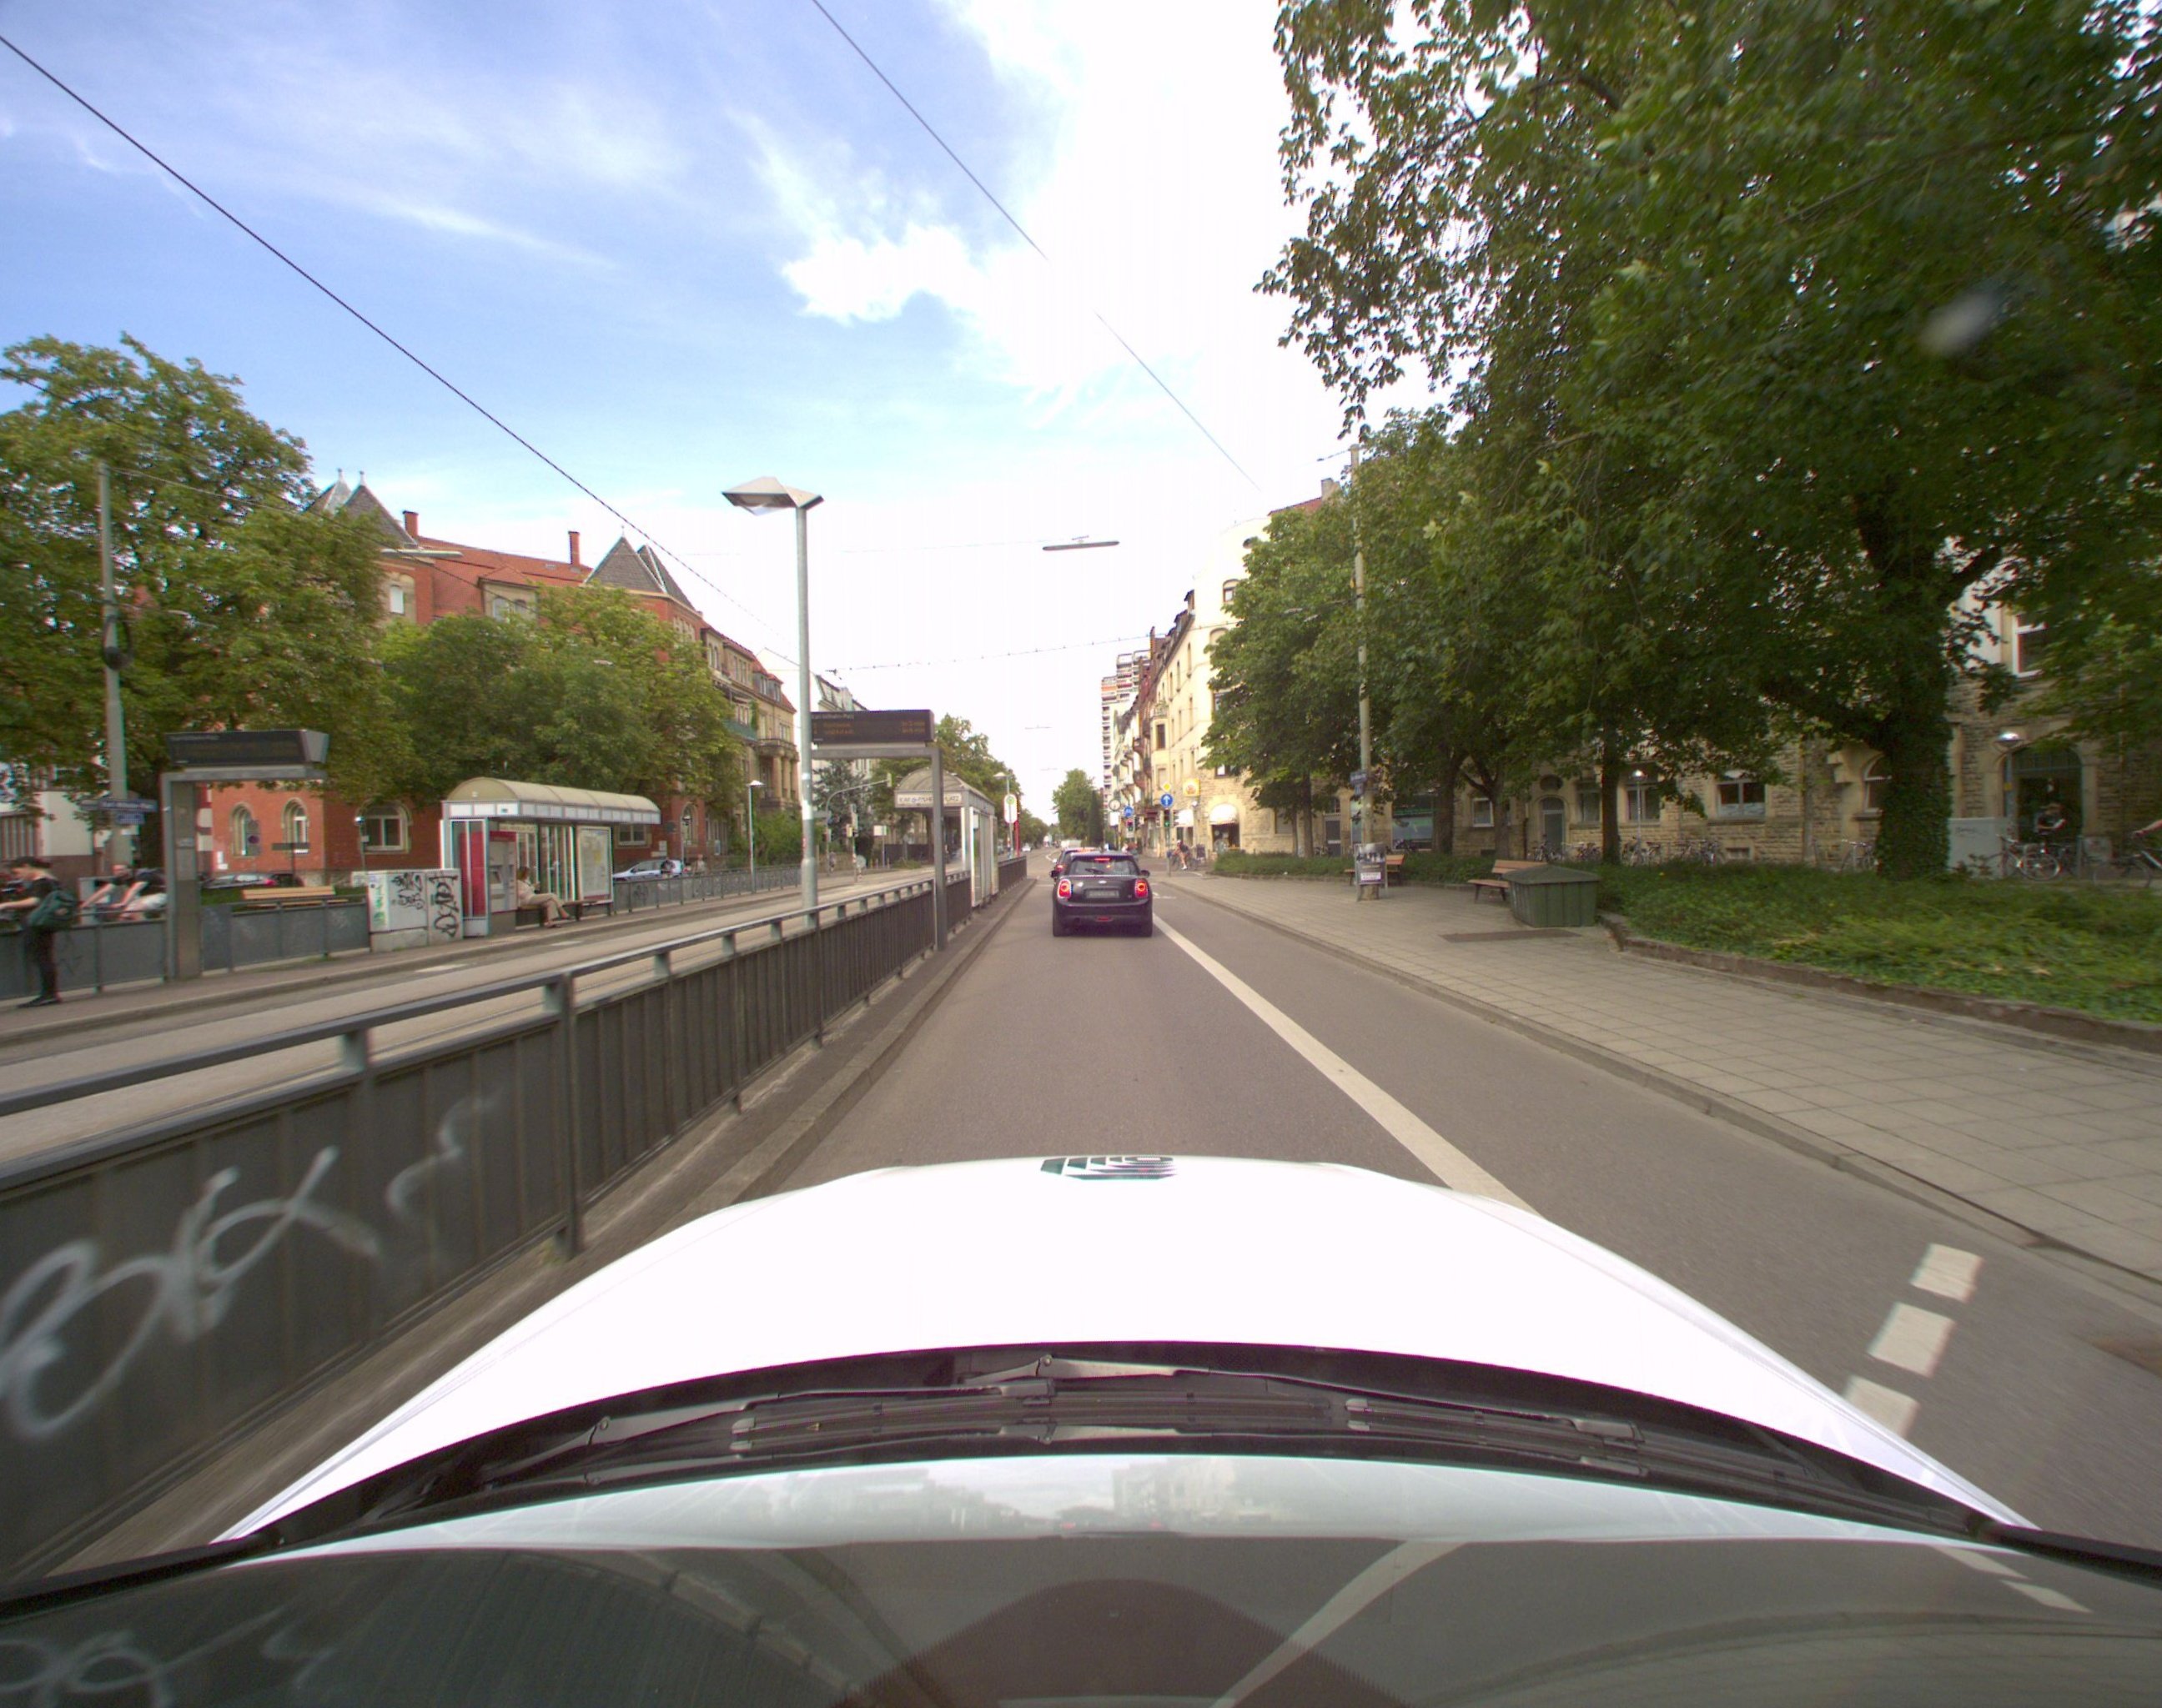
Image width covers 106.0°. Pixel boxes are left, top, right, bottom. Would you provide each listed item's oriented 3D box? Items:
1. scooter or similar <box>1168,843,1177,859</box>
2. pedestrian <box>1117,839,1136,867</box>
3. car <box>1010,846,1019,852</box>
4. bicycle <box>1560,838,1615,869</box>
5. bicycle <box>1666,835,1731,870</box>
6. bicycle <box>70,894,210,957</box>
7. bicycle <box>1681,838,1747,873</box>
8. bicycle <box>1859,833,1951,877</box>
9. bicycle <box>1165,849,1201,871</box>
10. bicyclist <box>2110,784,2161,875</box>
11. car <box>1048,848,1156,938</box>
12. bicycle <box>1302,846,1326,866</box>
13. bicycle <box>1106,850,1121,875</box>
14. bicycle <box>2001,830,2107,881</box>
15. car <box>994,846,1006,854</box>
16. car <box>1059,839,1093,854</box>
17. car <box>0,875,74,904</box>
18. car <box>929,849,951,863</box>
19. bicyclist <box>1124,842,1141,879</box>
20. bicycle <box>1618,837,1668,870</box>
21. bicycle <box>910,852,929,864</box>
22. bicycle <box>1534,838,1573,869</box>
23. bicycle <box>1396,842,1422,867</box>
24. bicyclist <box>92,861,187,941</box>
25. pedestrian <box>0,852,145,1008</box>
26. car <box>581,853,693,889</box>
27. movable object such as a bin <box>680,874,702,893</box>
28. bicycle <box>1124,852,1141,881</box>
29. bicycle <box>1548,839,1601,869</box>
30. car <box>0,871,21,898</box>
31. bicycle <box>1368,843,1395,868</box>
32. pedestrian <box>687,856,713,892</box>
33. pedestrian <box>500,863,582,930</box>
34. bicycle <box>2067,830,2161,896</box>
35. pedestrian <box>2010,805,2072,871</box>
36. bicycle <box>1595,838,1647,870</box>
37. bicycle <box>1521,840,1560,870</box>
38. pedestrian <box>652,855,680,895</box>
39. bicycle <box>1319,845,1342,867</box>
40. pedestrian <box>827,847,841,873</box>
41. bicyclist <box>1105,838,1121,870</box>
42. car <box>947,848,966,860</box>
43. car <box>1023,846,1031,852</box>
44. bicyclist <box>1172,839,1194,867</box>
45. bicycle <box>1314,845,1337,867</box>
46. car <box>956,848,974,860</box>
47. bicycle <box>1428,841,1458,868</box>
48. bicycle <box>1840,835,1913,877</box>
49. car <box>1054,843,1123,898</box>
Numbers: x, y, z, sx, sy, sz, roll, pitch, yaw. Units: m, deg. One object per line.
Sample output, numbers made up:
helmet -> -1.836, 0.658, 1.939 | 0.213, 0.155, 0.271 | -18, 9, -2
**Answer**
scooter or similar -> 6.836, -0.243, 60.750 | 0.507, 1.188, 1.261 | -2, 1, -1
pedestrian -> 2.887, -0.062, 51.741 | 0.840, 1.674, 0.723 | -6, 1, -45
car -> -17.195, -1.267, 211.896 | 1.987, 1.552, 3.999 | -2, 1, -1
bicycle -> 19.718, -0.016, 31.697 | 1.887, 1.128, 0.597 | -2, 1, -10
bicycle -> 21.308, -0.044, 28.113 | 1.884, 1.128, 0.532 | -2, 0, -5
bicycle -> -16.622, 1.238, 14.447 | 0.658, 0.949, 1.549 | -2, 1, -1
bicycle -> 21.400, 0.038, 27.531 | 1.884, 1.128, 0.532 | -2, 0, -5
bicycle -> 22.583, 0.031, 22.325 | 1.879, 1.128, 0.533 | -2, 0, 4
bicycle -> 5.386, 0.329, 43.089 | 1.797, 1.076, 0.621 | -1, 1, 33
bicyclist -> 19.255, -0.443, 14.428 | 0.647, 1.605, 1.131 | -2, 1, -22
car -> 0.333, 0.616, 15.168 | 1.746, 1.441, 3.999 | 0, 1, 0
bicycle -> 12.021, 0.093, 41.959 | 0.595, 0.972, 1.683 | -1, 1, 37
bicycle -> 1.584, 0.406, 40.055 | 0.681, 1.170, 1.697 | -2, 1, 1
bicycle -> 23.026, 0.038, 19.293 | 1.881, 1.128, 0.533 | -2, 0, 0
car -> -16.485, -0.769, 165.225 | 1.987, 1.552, 3.999 | -2, 1, -1
car -> -0.768, -1.272, 131.966 | 5.067, 2.272, 2.368 | -2, 1, -41
car -> -54.549, 1.841, 42.200 | 3.952, 1.395, 1.825 | -2, 1, 21
car -> -15.066, 0.157, 87.320 | 1.762, 1.395, 3.998 | -2, 1, -2
bicyclist -> 2.193, 0.255, 34.872 | 0.592, 1.550, 1.013 | -2, 1, -1
bicycle -> 20.638, -0.015, 29.897 | 1.896, 1.128, 0.590 | -2, 1, -24
bicycle -> -15.817, 0.395, 79.832 | 1.681, 1.119, 0.566 | -3, 1, -40
bicycle -> 19.150, -0.025, 32.981 | 1.900, 1.127, 0.527 | -4, 1, -32
bicycle -> 15.236, 0.010, 37.807 | 0.526, 1.128, 1.906 | -1, 1, 41
bicyclist -> -16.639, 0.819, 14.416 | 0.659, 1.339, 0.835 | -2, 0, -1
pedestrian -> -11.308, 0.805, 9.010 | 0.851, 1.620, 0.841 | -2, 0, -6
car -> -21.816, 0.804, 40.086 | 4.373, 1.578, 2.185 | -2, 1, -45
movable object such as a bin -> -18.132, 1.368, 37.864 | 0.727, 0.799, 0.621 | -2, 1, -6
bicycle -> 2.196, 0.524, 34.878 | 0.596, 1.170, 1.696 | -2, 1, -1
bicycle -> 19.570, -0.018, 32.280 | 1.887, 1.128, 0.561 | -2, 1, -10
car -> -59.714, 1.705, 44.040 | 3.952, 1.395, 1.825 | -2, 1, 21
bicycle -> 14.294, 0.070, 38.672 | 0.526, 1.128, 1.906 | -1, 1, 41
pedestrian -> -17.862, 0.929, 38.180 | 0.868, 1.632, 0.743 | -2, 1, -6
pedestrian -> -11.237, 0.861, 16.987 | 1.057, 1.293, 0.984 | -2, 0, -6
bicycle -> 19.261, 0.149, 14.490 | 0.655, 1.152, 2.088 | -2, 1, -22
pedestrian -> 25.390, -0.423, 21.551 | 0.732, 1.675, 0.831 | -2, 1, -16
bicycle -> 20.327, -0.018, 30.648 | 1.893, 1.128, 0.579 | -2, 1, -18
bicycle -> 18.889, 0.029, 33.461 | 1.900, 1.127, 0.527 | -3, 1, -32
pedestrian -> -18.308, 0.935, 35.944 | 0.831, 1.703, 0.731 | -2, 1, -6
bicycle -> 12.512, 0.092, 40.821 | 0.444, 1.055, 1.660 | -1, 1, 41
pedestrian -> -17.598, 0.439, 57.987 | 0.728, 1.783, 0.835 | -2, 1, -1
bicyclist -> 1.571, -0.009, 39.990 | 0.681, 1.563, 0.998 | -2, 1, 1
car -> -15.138, -0.001, 99.342 | 1.762, 1.395, 3.998 | -2, 1, -2
car -> -12.333, -1.134, 186.555 | 1.762, 1.395, 3.998 | -2, 1, -2
bicyclist -> 5.409, -0.042, 43.068 | 0.903, 1.472, 0.621 | -1, 1, 33
bicycle -> 12.353, 0.092, 41.200 | 0.444, 1.055, 1.660 | -1, 1, 41
car -> -15.220, 0.006, 107.014 | 1.762, 1.395, 3.998 | -2, 1, -2
bicycle -> 16.294, 0.006, 36.612 | 0.659, 1.128, 1.906 | -1, 1, 41
bicycle -> 22.687, 0.046, 23.231 | 1.889, 1.128, 0.530 | -2, 1, -13
car -> 0.184, 0.447, 25.188 | 1.921, 1.509, 3.998 | -2, 1, -1
